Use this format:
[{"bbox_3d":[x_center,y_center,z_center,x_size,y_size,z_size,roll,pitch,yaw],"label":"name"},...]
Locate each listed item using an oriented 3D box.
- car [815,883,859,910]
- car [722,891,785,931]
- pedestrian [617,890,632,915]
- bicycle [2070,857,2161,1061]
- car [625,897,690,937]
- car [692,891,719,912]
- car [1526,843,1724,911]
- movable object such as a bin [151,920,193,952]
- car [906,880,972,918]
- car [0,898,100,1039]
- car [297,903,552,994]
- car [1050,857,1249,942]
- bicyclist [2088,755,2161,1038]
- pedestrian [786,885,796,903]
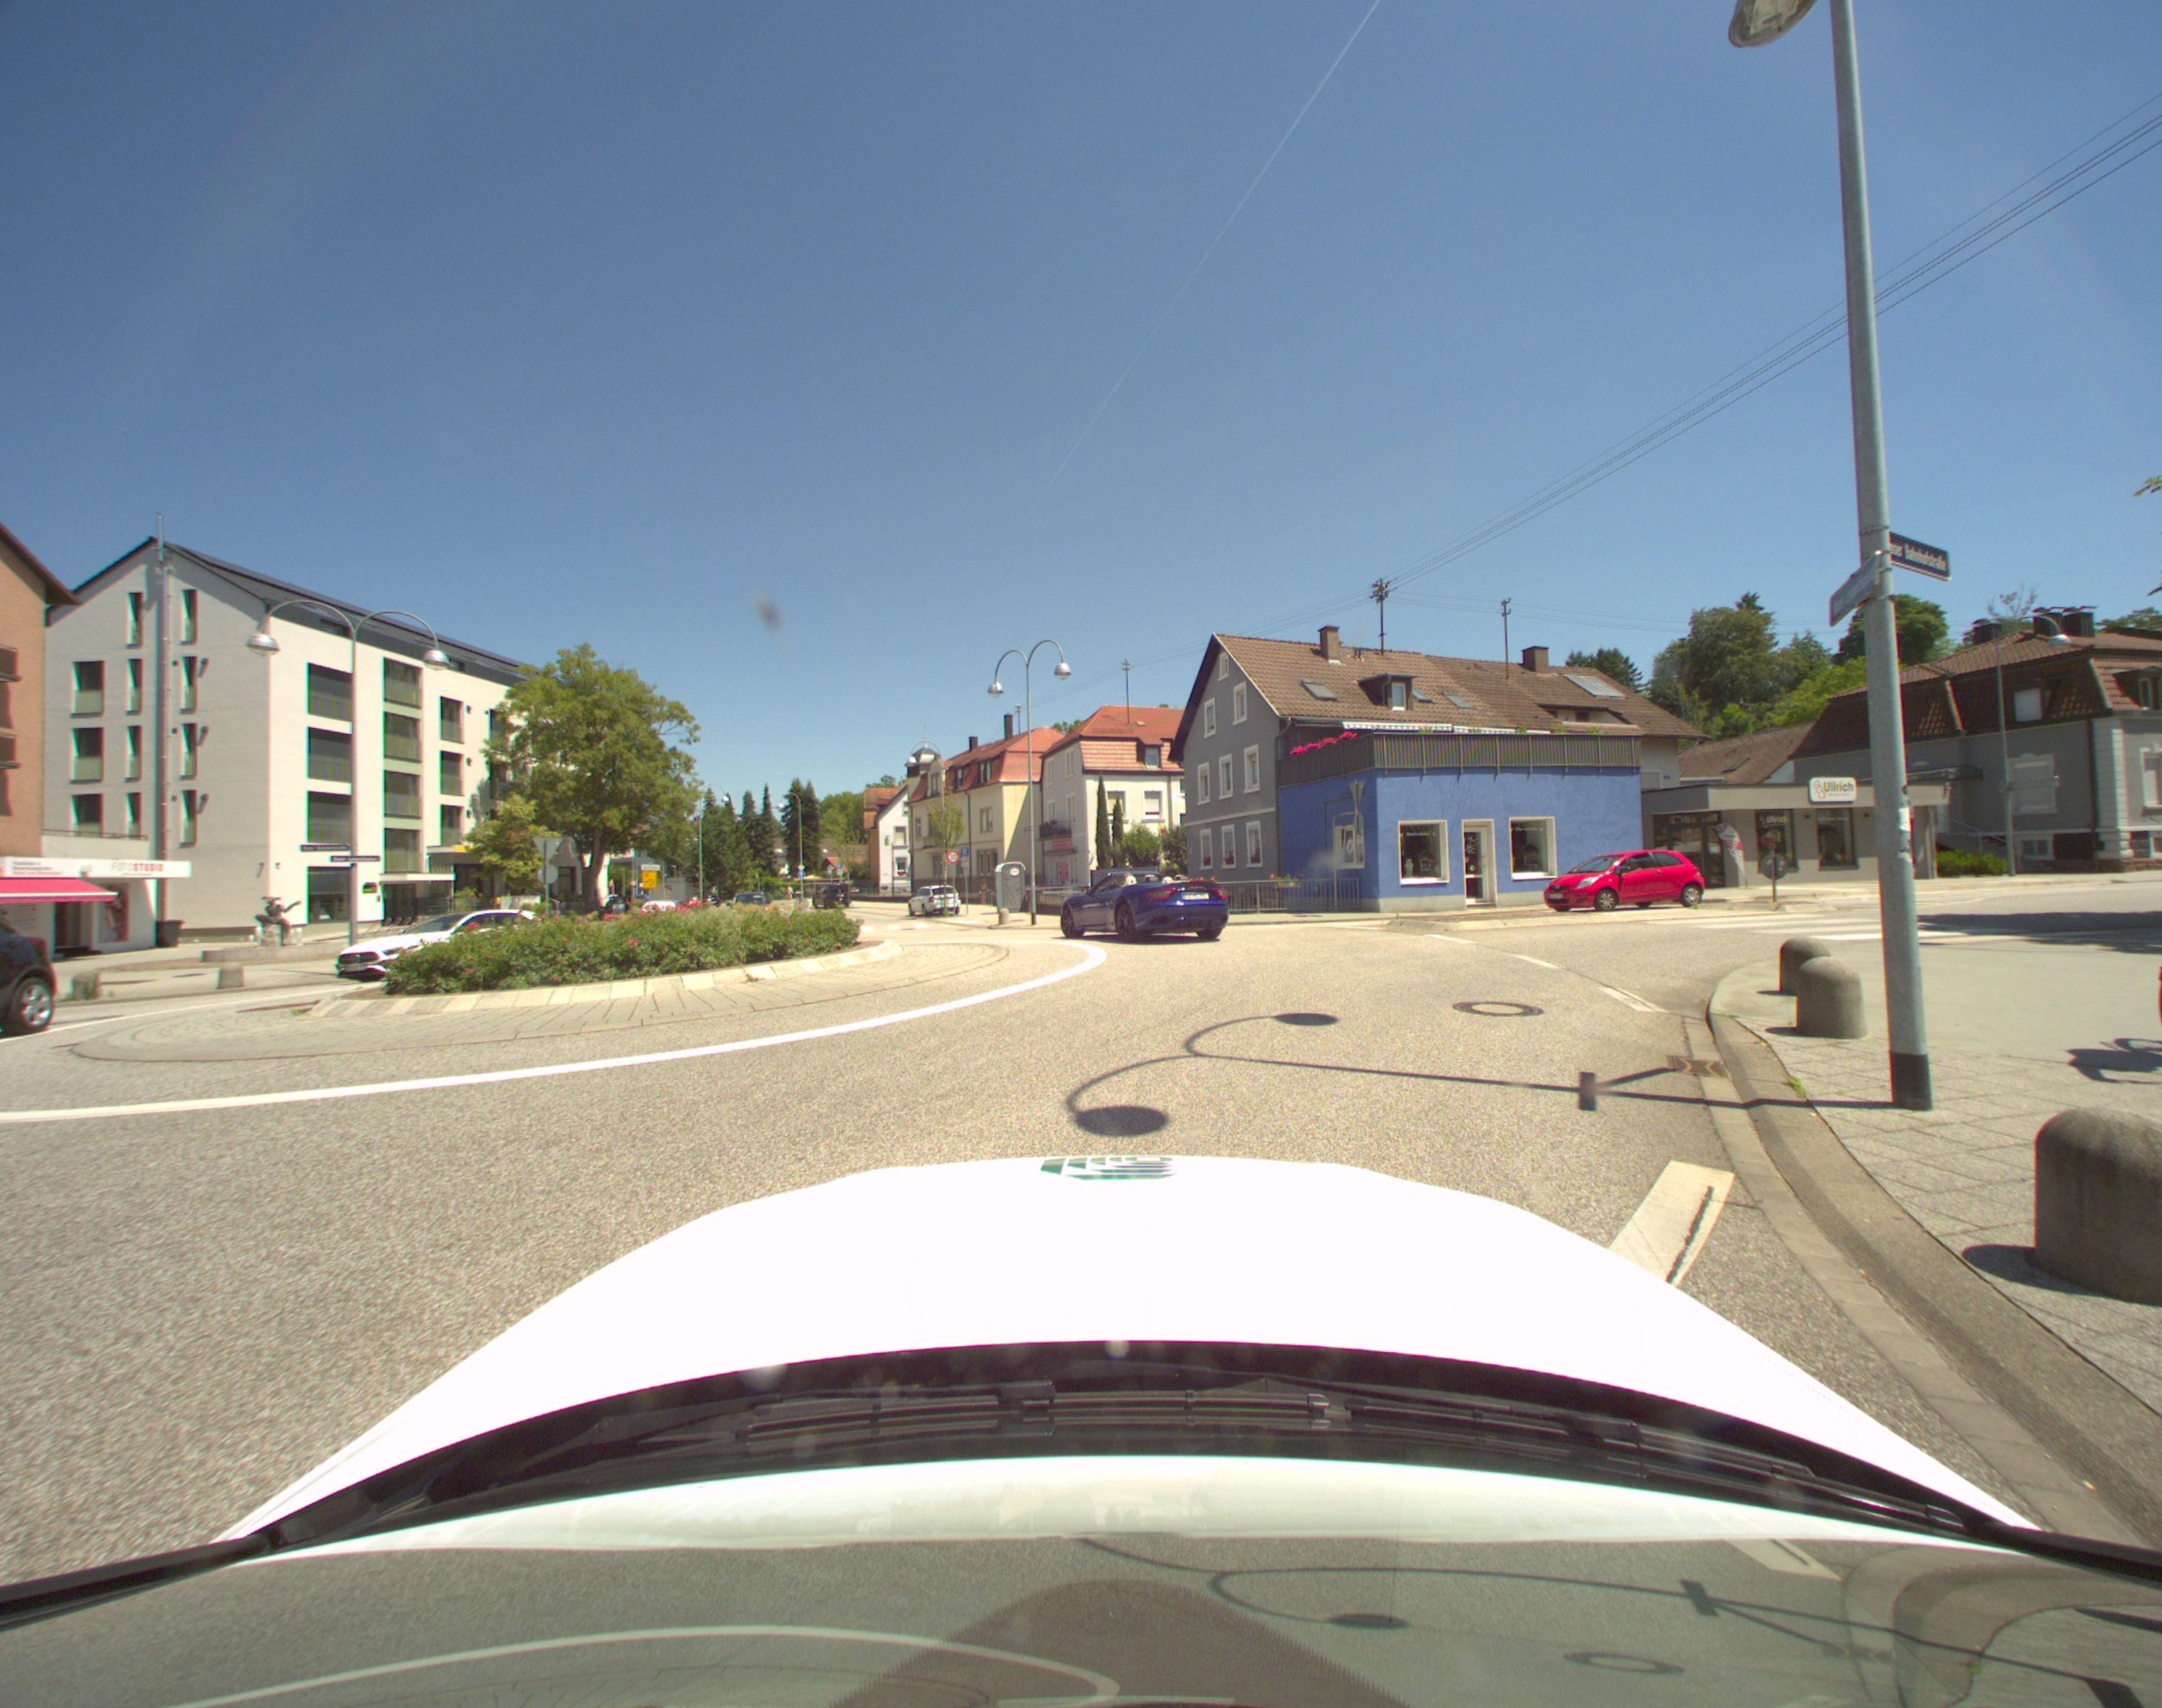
[{"bbox_3d":[-18.319,3.150,60.969,2.008,1.865,4.242,1,-1,-33],"label":"car"},{"bbox_3d":[-15.758,2.692,39.412,1.995,1.688,4.508,-3,-2,-12],"label":"car"},{"bbox_3d":[-27.399,2.907,48.887,0.528,1.485,0.556,-3,-2,3],"label":"pedestrian"},{"bbox_3d":[6.752,0.608,4.736,0.800,1.156,1.864,-4,-2,37],"label":"bicycle"},{"bbox_3d":[-19.244,2.824,37.179,1.799,1.590,3.978,0,-2,-16],"label":"car"},{"bbox_3d":[-34.395,4.310,74.711,2.002,1.688,4.492,-2,-1,-22],"label":"car"},{"bbox_3d":[13.985,0.604,21.050,3.984,1.533,1.829,-2,-3,-8],"label":"car"},{"bbox_3d":[-34.736,3.133,31.130,0.767,1.155,0.762,0,-1,7],"label":"movable object such as a bin"},{"bbox_3d":[-7.175,2.238,40.755,2.005,1.584,4.249,-6,0,-26],"label":"car"},{"bbox_3d":[-12.770,1.322,8.243,2.004,1.562,4.130,-4,-1,-26],"label":"car"},{"bbox_3d":[-14.627,2.037,18.539,1.917,1.381,4.296,-4,1,6],"label":"car"},{"bbox_3d":[1.126,0.877,15.925,1.984,1.398,4.590,0,-3,-23],"label":"car"},{"bbox_3d":[6.743,0.235,4.738,0.800,1.635,1.069,-4,-2,37],"label":"bicyclist"},{"bbox_3d":[-29.413,4.024,82.613,0.850,1.814,0.543,1,-1,-40],"label":"pedestrian"}]
